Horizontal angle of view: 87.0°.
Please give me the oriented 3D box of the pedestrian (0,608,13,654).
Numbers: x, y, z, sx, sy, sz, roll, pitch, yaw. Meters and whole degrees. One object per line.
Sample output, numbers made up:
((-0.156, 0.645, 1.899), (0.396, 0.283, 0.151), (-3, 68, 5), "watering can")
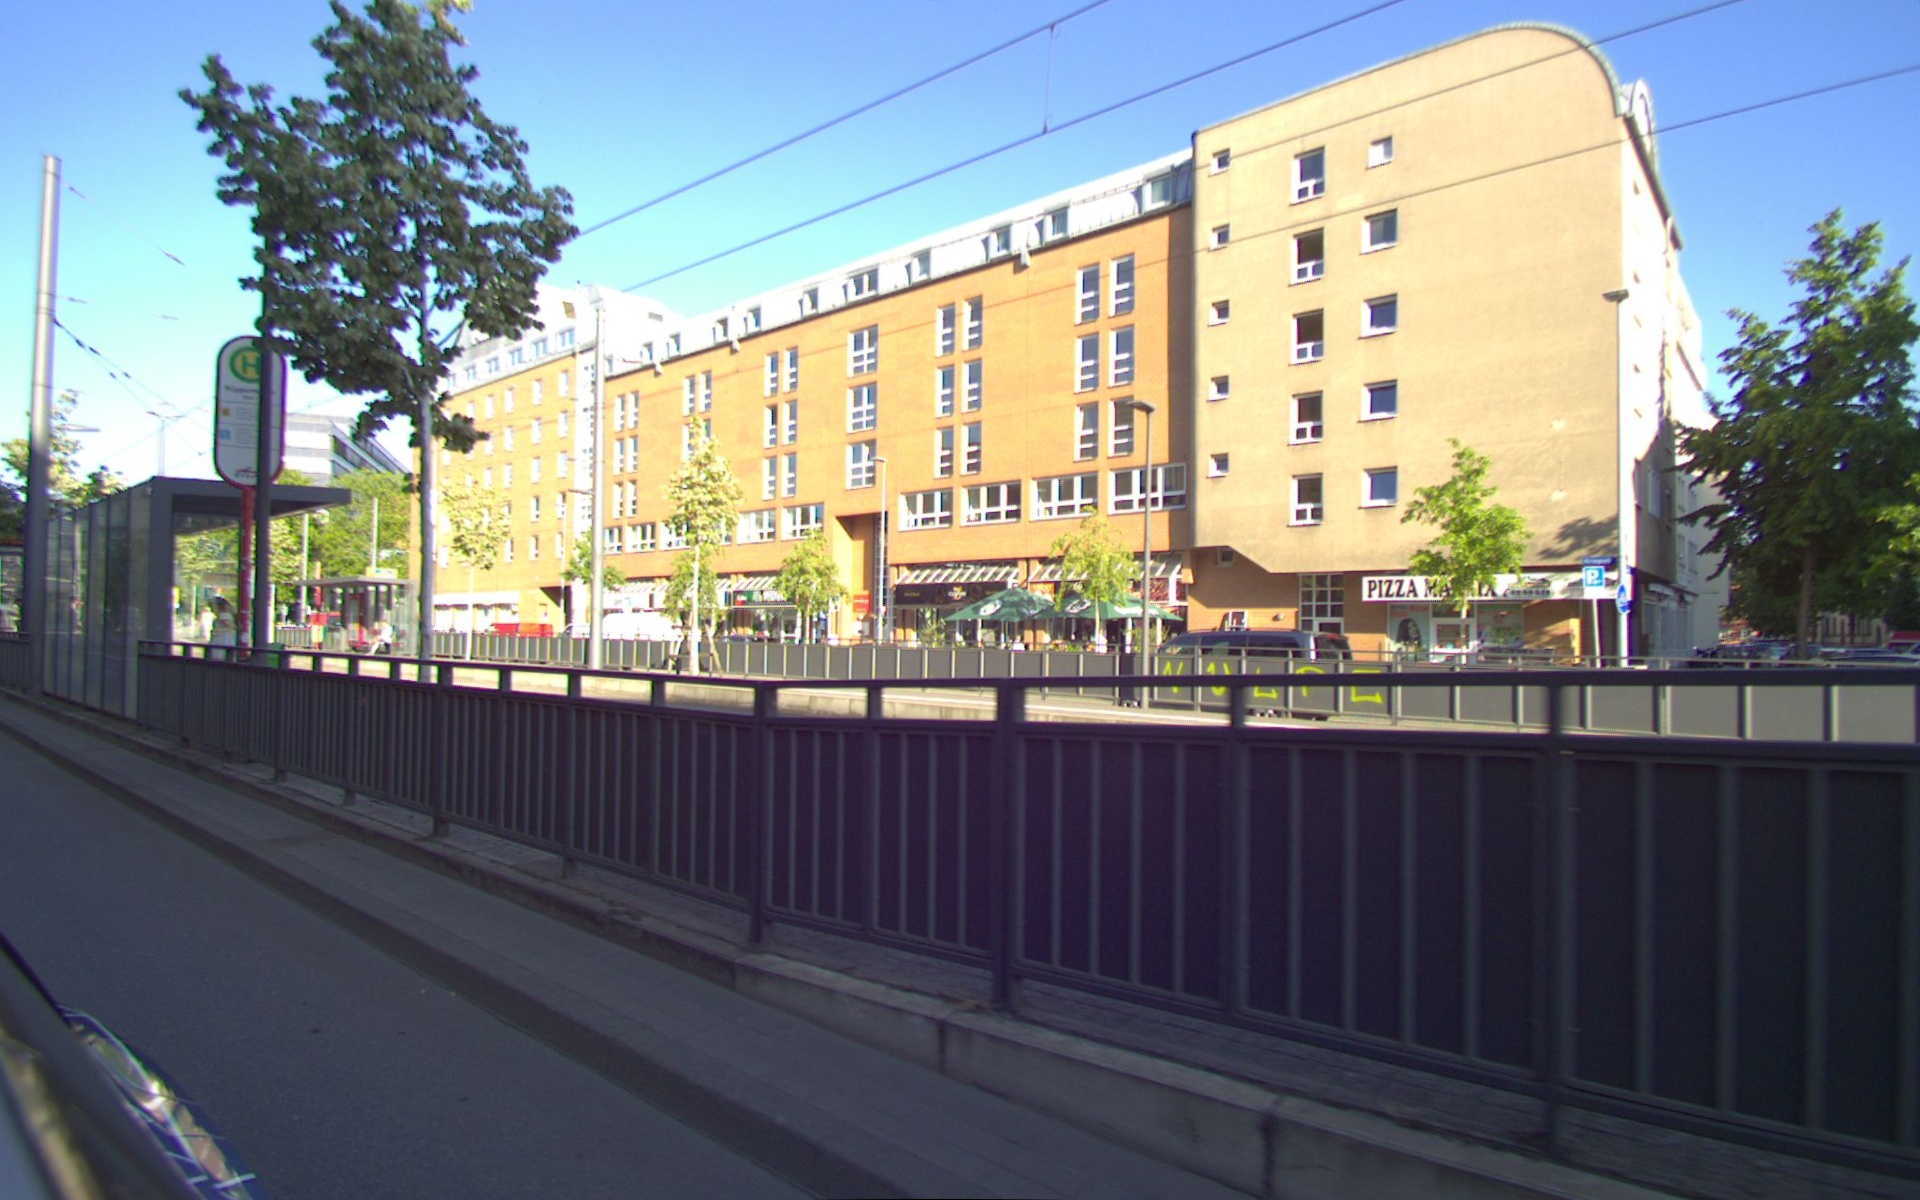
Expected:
((-30.888, 0.992, 32.464), (0.674, 1.494, 0.830), (2, -2, -42), "pedestrian")

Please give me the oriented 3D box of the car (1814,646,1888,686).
((37.458, 2.758, 42.626), (1.839, 1.597, 4.107), (-2, -3, 35), "car")

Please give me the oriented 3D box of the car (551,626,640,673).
((-15.643, 2.111, 43.342), (4.316, 1.881, 1.865), (-3, -4, 43), "car")

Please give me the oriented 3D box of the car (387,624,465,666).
((-25.596, 2.159, 48.461), (4.313, 1.881, 1.866), (-2, -4, 41), "car")

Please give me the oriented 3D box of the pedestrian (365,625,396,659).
((-20.604, 1.497, 35.987), (0.905, 1.199, 0.666), (-1, -3, 40), "pedestrian")

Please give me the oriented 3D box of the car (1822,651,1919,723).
((22.454, 1.958, 22.984), (4.148, 1.597, 1.821), (-2, -3, 36), "car")

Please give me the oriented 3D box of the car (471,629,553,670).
((-21.449, 2.355, 48.441), (4.312, 1.881, 1.867), (-2, -4, 40), "car")

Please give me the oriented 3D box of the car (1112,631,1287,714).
((6.348, 1.889, 27.140), (1.970, 2.029, 4.151), (3, -4, -43), "car")

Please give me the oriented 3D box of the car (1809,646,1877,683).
((40.585, 2.929, 46.601), (1.839, 1.597, 4.107), (-2, -3, 35), "car")

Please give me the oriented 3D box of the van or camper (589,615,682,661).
((-16.336, 1.958, 50.783), (5.614, 2.186, 1.972), (-4, -4, 42), "van or camper")

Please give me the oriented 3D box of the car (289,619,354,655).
((-42.624, 2.454, 67.514), (5.259, 2.306, 2.058), (-1, -3, 39), "car")

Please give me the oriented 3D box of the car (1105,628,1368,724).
((5.585, 1.464, 20.930), (4.943, 1.730, 1.971), (-1, -3, 44), "car")

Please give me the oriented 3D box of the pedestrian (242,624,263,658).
((-35.410, 2.068, 50.653), (0.668, 1.696, 0.577), (1, -2, -15), "pedestrian")

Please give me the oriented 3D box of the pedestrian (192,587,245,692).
((-9.980, 0.527, 13.629), (0.406, 1.396, 0.425), (-1, -2, 29), "pedestrian")

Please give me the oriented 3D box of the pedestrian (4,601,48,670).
((-23.908, 0.913, 25.910), (0.651, 1.745, 0.712), (-1, -3, 40), "pedestrian")

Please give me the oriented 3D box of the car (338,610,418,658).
((-30.114, 1.749, 52.306), (4.916, 2.376, 2.025), (-1, -3, 40), "car")
